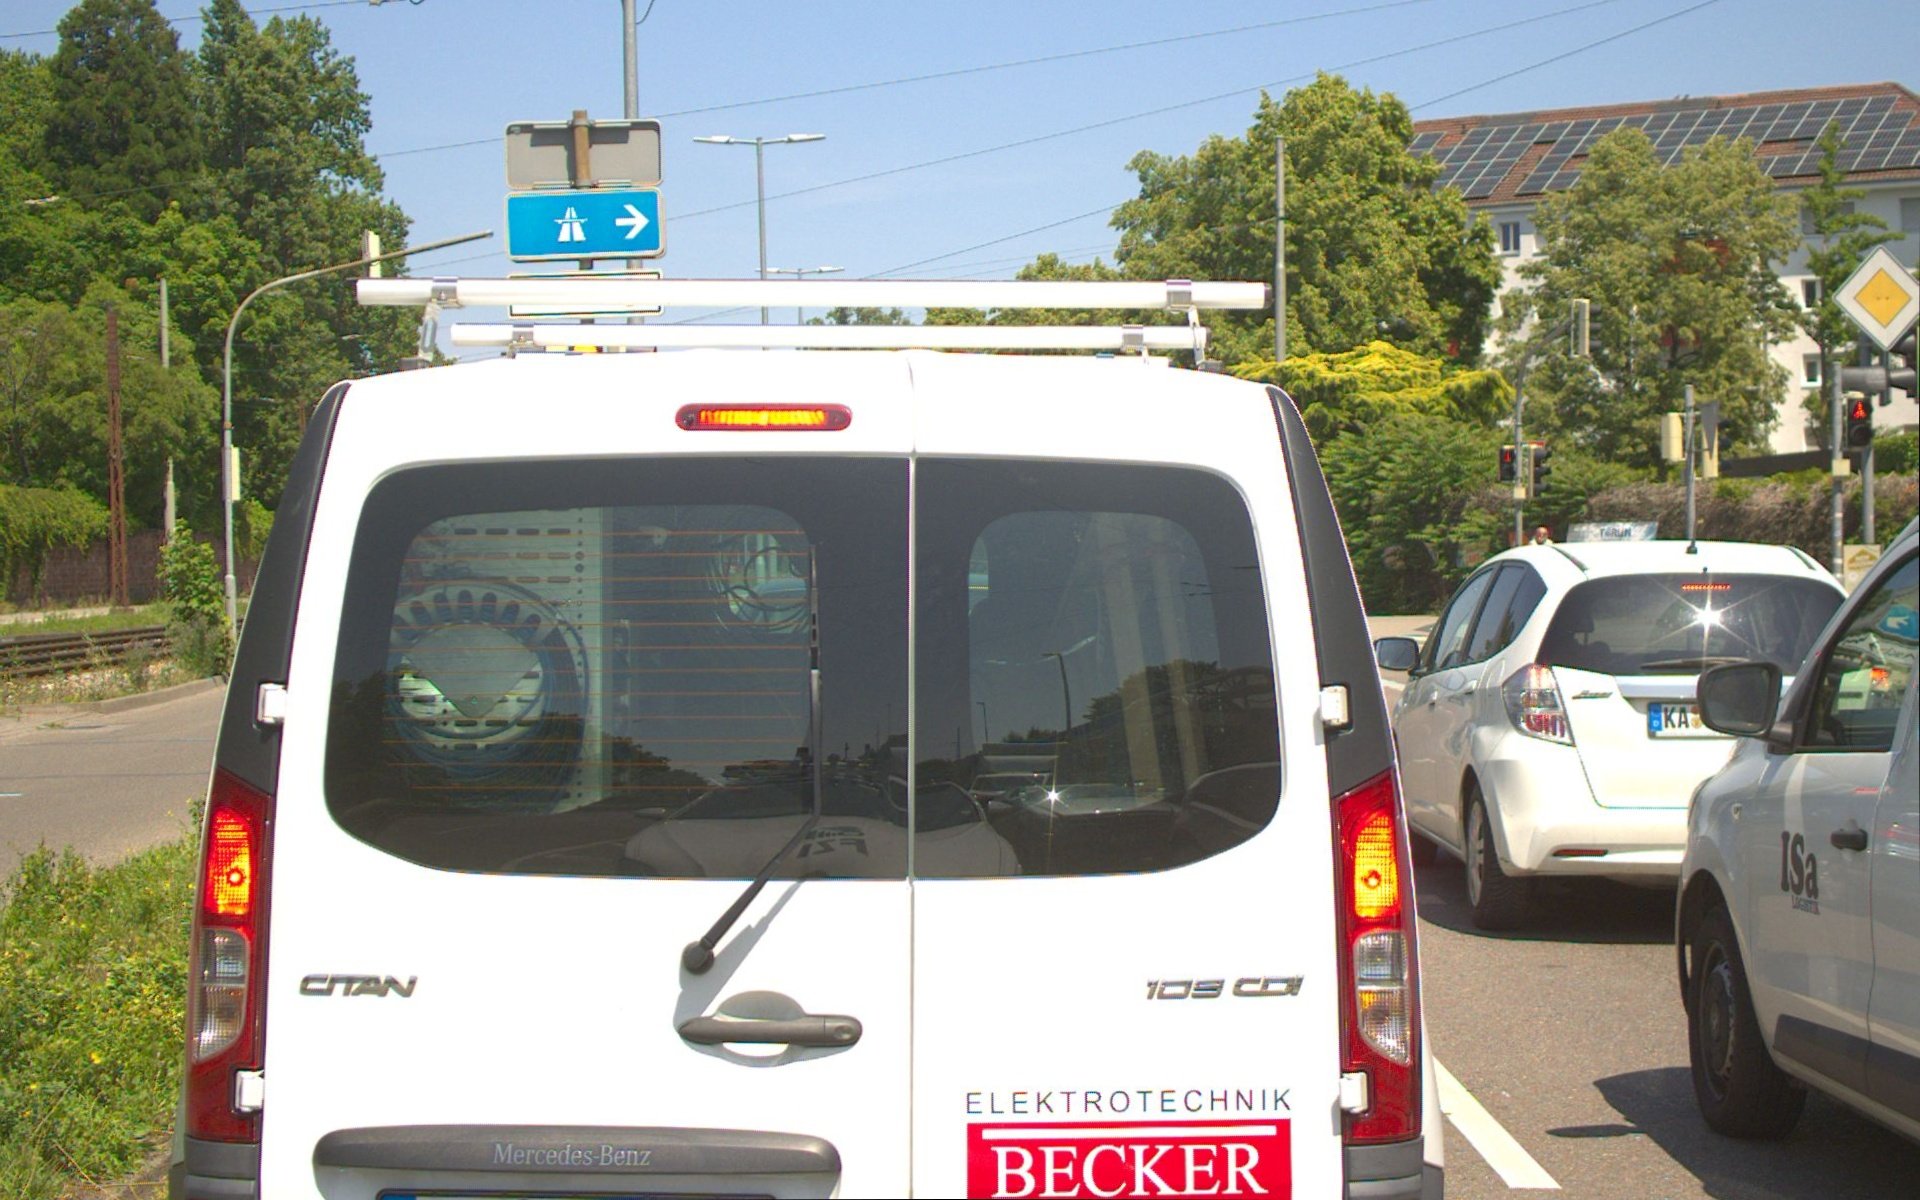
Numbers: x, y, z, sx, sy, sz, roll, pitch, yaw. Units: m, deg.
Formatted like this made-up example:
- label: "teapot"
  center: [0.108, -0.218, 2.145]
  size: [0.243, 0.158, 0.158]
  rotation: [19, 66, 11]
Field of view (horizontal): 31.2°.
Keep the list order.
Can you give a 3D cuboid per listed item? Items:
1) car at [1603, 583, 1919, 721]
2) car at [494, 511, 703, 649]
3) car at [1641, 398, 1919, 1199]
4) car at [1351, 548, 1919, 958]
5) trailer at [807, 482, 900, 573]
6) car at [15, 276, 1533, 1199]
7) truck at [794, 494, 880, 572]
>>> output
- label: "car"
  center: [8.736, 0.525, 35.259]
  size: [3.876, 1.307, 1.695]
  rotation: [-1, 1, 25]
- label: "car"
  center: [-5.566, -0.329, 52.470]
  size: [1.993, 2.007, 4.001]
  rotation: [-1, 1, -24]
- label: "car"
  center: [2.750, 0.508, 7.209]
  size: [1.710, 1.824, 4.014]
  rotation: [0, 1, -2]
- label: "car"
  center: [2.797, 0.533, 14.635]
  size: [1.756, 1.481, 4.000]
  rotation: [1, 1, -1]
- label: "trailer"
  center: [-4.931, -3.299, 157.300]
  size: [3.527, 4.037, 8.979]
  rotation: [-1, 1, -6]
- label: "car"
  center: [-0.275, 0.493, 6.181]
  size: [1.866, 1.829, 3.849]
  rotation: [1, 1, -1]
- label: "truck"
  center: [-6.003, -3.213, 166.130]
  size: [3.575, 3.620, 8.810]
  rotation: [-1, 1, -6]
